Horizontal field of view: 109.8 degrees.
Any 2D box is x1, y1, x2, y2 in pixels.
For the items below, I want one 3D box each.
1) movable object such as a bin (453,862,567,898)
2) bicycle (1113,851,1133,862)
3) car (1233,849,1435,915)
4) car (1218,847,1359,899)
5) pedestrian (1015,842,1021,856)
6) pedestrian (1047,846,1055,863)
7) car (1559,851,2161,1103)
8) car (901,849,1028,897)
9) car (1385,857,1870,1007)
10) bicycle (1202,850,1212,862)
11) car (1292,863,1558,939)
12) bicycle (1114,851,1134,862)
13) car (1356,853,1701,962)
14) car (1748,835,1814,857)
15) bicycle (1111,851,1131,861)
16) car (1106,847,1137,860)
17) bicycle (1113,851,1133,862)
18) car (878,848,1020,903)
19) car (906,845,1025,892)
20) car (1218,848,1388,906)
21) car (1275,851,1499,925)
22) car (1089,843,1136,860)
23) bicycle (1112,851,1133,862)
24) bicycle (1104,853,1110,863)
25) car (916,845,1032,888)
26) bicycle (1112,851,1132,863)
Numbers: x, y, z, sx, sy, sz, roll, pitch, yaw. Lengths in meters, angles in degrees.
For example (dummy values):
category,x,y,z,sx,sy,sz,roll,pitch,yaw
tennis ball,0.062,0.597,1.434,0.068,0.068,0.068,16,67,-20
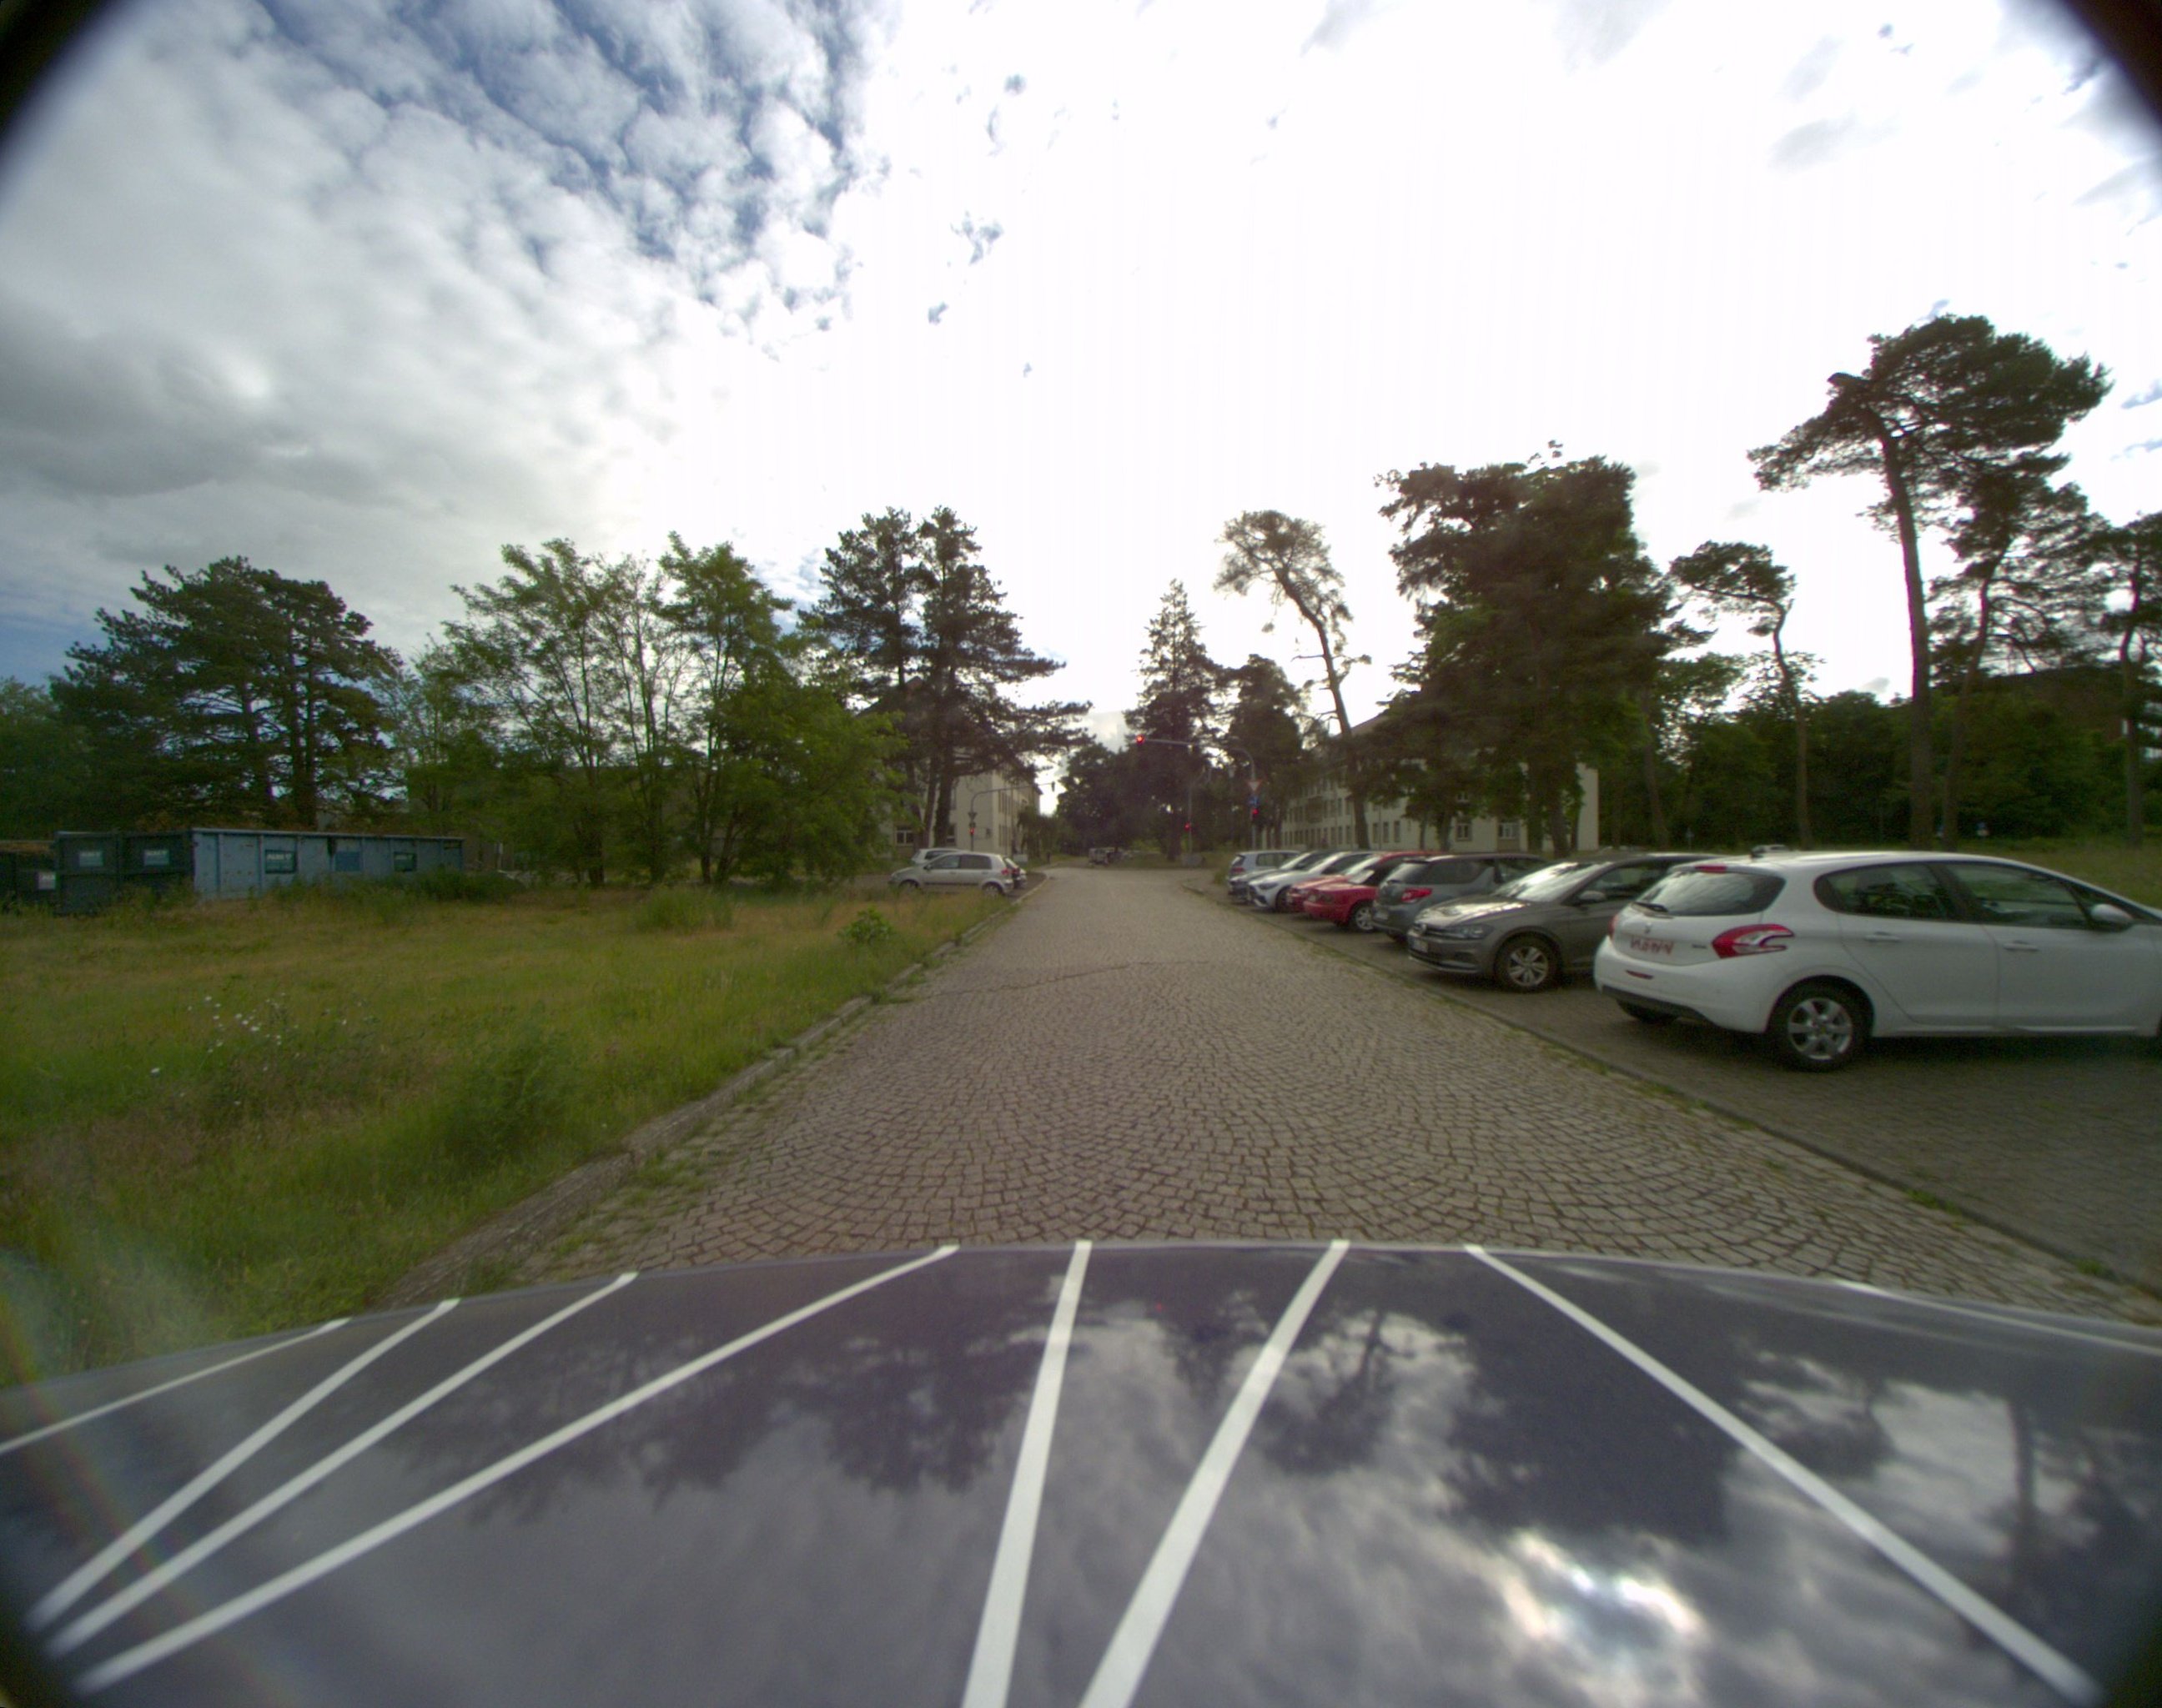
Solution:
category,x,y,z,sx,sy,sz,roll,pitch,yaw
movable object such as a bin,-17.078,0.766,22.774,2.689,0.982,0.853,-1,1,-2
bicycle,4.113,0.251,74.256,1.950,1.059,0.562,-1,1,-1
car,6.192,0.658,18.946,4.385,1.499,1.935,-1,1,-1
car,6.561,0.578,24.341,3.997,1.534,1.905,-1,1,0
pedestrian,-7.355,-0.581,88.766,0.568,1.691,0.532,-1,1,5
pedestrian,-3.447,0.092,87.073,0.589,1.926,0.791,-1,1,-32
car,6.330,0.808,5.851,4.077,1.488,1.846,-2,0,2
car,-3.954,0.635,26.268,4.084,1.444,1.885,2,1,-1
car,5.927,0.812,8.698,4.176,1.483,1.865,-1,1,2
bicycle,10.028,0.143,60.489,0.294,0.911,1.052,-1,1,-21
car,6.289,0.839,14.278,4.176,1.259,1.831,-1,1,2
bicycle,4.208,0.235,74.902,1.950,1.059,0.562,-1,1,-1
car,6.610,0.761,11.615,4.176,1.473,1.845,-1,1,2
car,60.331,-0.684,65.556,3.996,1.796,1.722,-1,1,4
bicycle,4.006,0.194,76.511,1.950,1.059,0.562,-1,1,-1
car,4.683,-0.012,87.957,3.439,1.440,1.913,-1,1,0
bicycle,4.129,0.223,75.388,1.950,1.059,0.562,-1,1,-1
car,-4.007,0.633,23.559,4.084,1.506,1.804,2,1,-1
car,-4.341,0.531,28.990,4.251,1.587,1.884,2,1,-3
car,6.253,0.612,21.689,4.262,1.539,1.935,-1,1,-3
car,6.569,0.695,16.643,4.176,1.468,1.864,-1,1,0
car,3.763,-0.292,91.602,5.366,1.987,2.289,-1,1,-7
bicycle,4.024,0.240,73.728,1.950,1.104,0.562,-1,1,-1
bicycle,2.418,0.340,69.777,0.459,0.903,1.663,-1,1,5
car,-4.359,0.504,31.543,4.504,1.557,1.905,2,1,-1
bicycle,3.961,0.277,73.174,1.898,1.059,0.616,-1,1,-1
